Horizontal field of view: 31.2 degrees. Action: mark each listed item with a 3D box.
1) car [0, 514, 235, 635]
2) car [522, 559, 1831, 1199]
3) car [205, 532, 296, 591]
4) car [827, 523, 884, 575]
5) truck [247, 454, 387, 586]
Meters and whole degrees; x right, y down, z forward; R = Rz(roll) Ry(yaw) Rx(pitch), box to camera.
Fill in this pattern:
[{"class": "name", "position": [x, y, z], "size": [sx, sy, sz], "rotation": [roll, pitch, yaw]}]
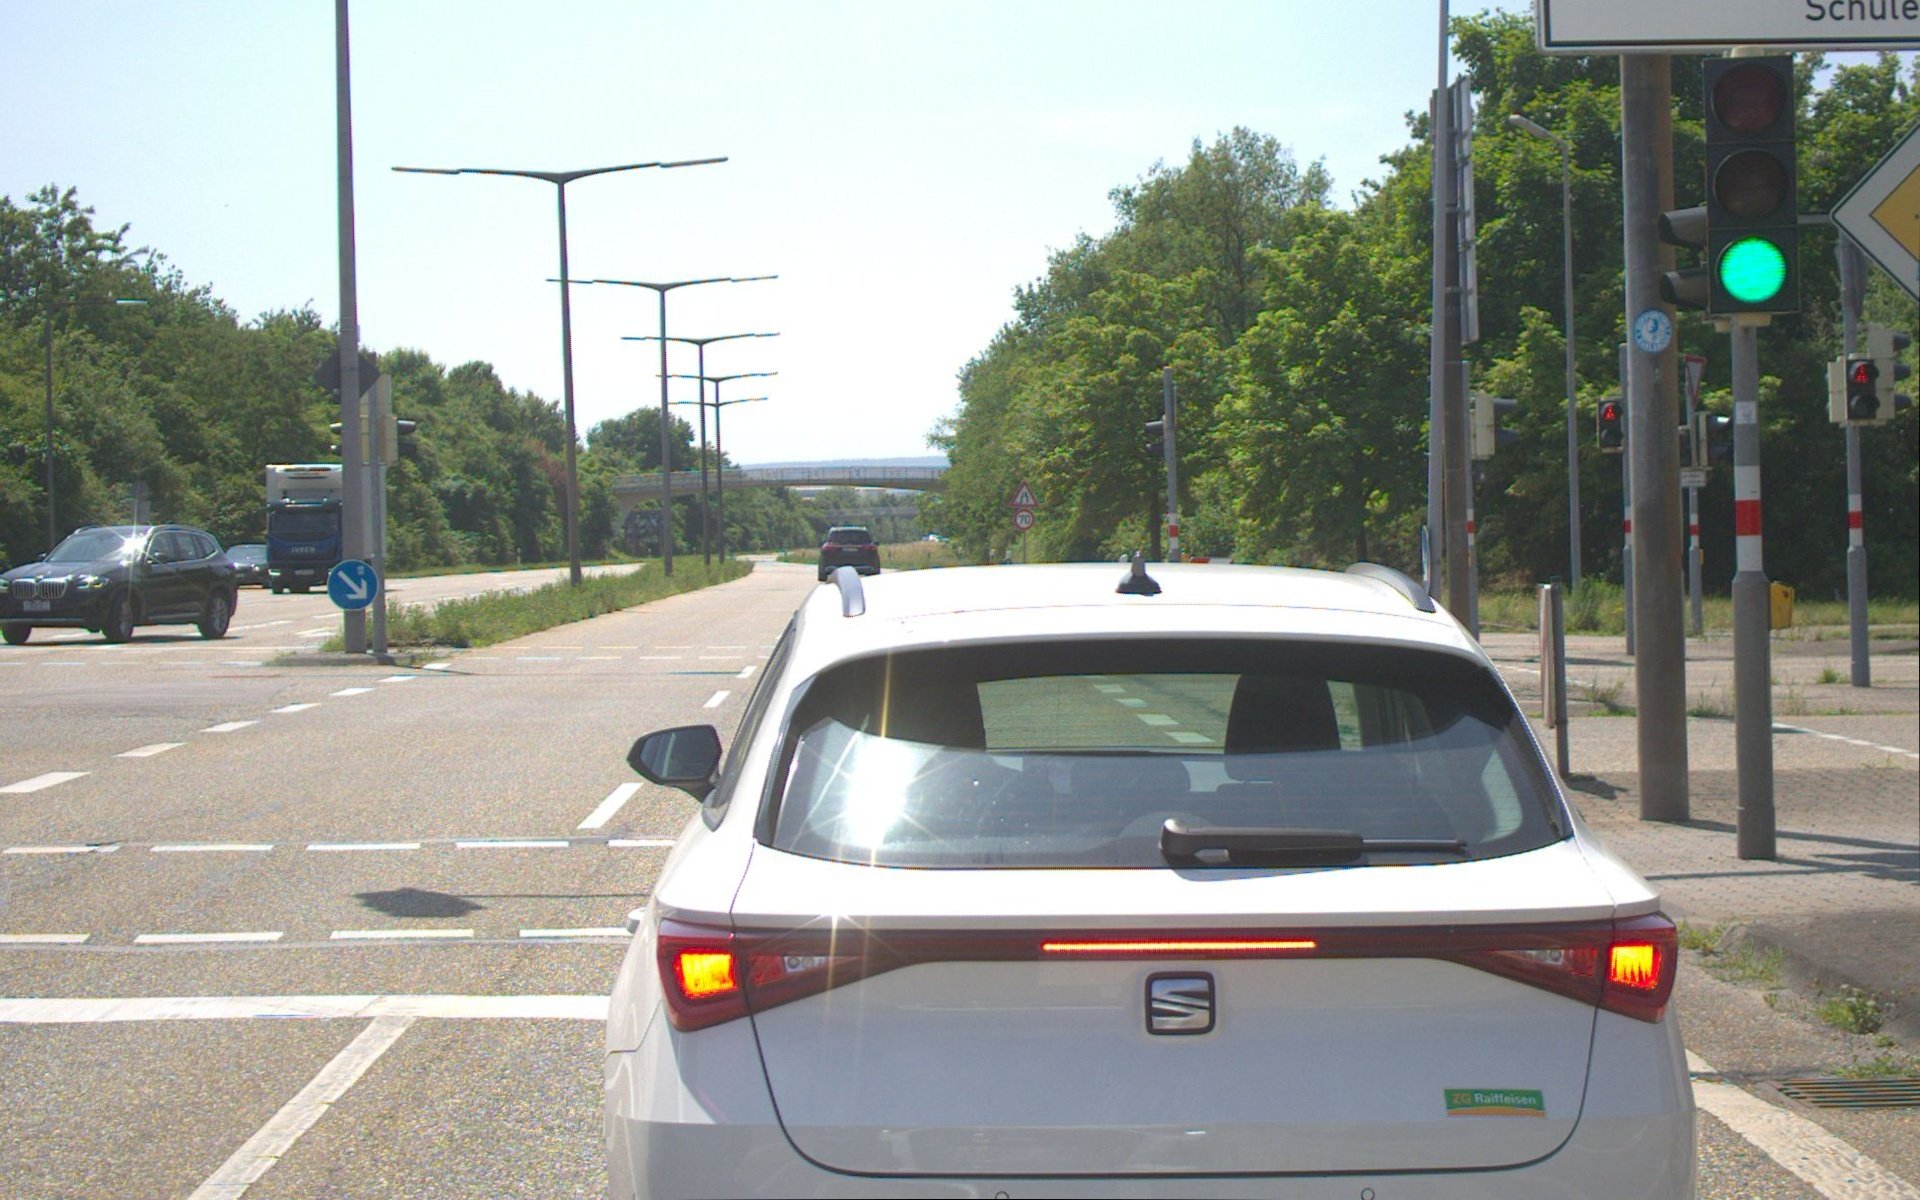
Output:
[{"class": "car", "position": [-12.262, -0.398, 49.841], "size": [1.708, 1.657, 4.220], "rotation": [-1, 1, 15]}, {"class": "car", "position": [0.264, 0.651, 6.434], "size": [1.734, 1.423, 3.695], "rotation": [1, 1, -1]}, {"class": "car", "position": [-21.959, -1.207, 106.529], "size": [1.822, 1.726, 4.926], "rotation": [-1, 1, -1]}, {"class": "car", "position": [-3.534, -1.751, 116.411], "size": [1.855, 1.703, 4.001], "rotation": [-1, 1, -2]}, {"class": "truck", "position": [-18.062, -2.264, 96.957], "size": [2.687, 3.558, 7.268], "rotation": [0, 1, -1]}]
